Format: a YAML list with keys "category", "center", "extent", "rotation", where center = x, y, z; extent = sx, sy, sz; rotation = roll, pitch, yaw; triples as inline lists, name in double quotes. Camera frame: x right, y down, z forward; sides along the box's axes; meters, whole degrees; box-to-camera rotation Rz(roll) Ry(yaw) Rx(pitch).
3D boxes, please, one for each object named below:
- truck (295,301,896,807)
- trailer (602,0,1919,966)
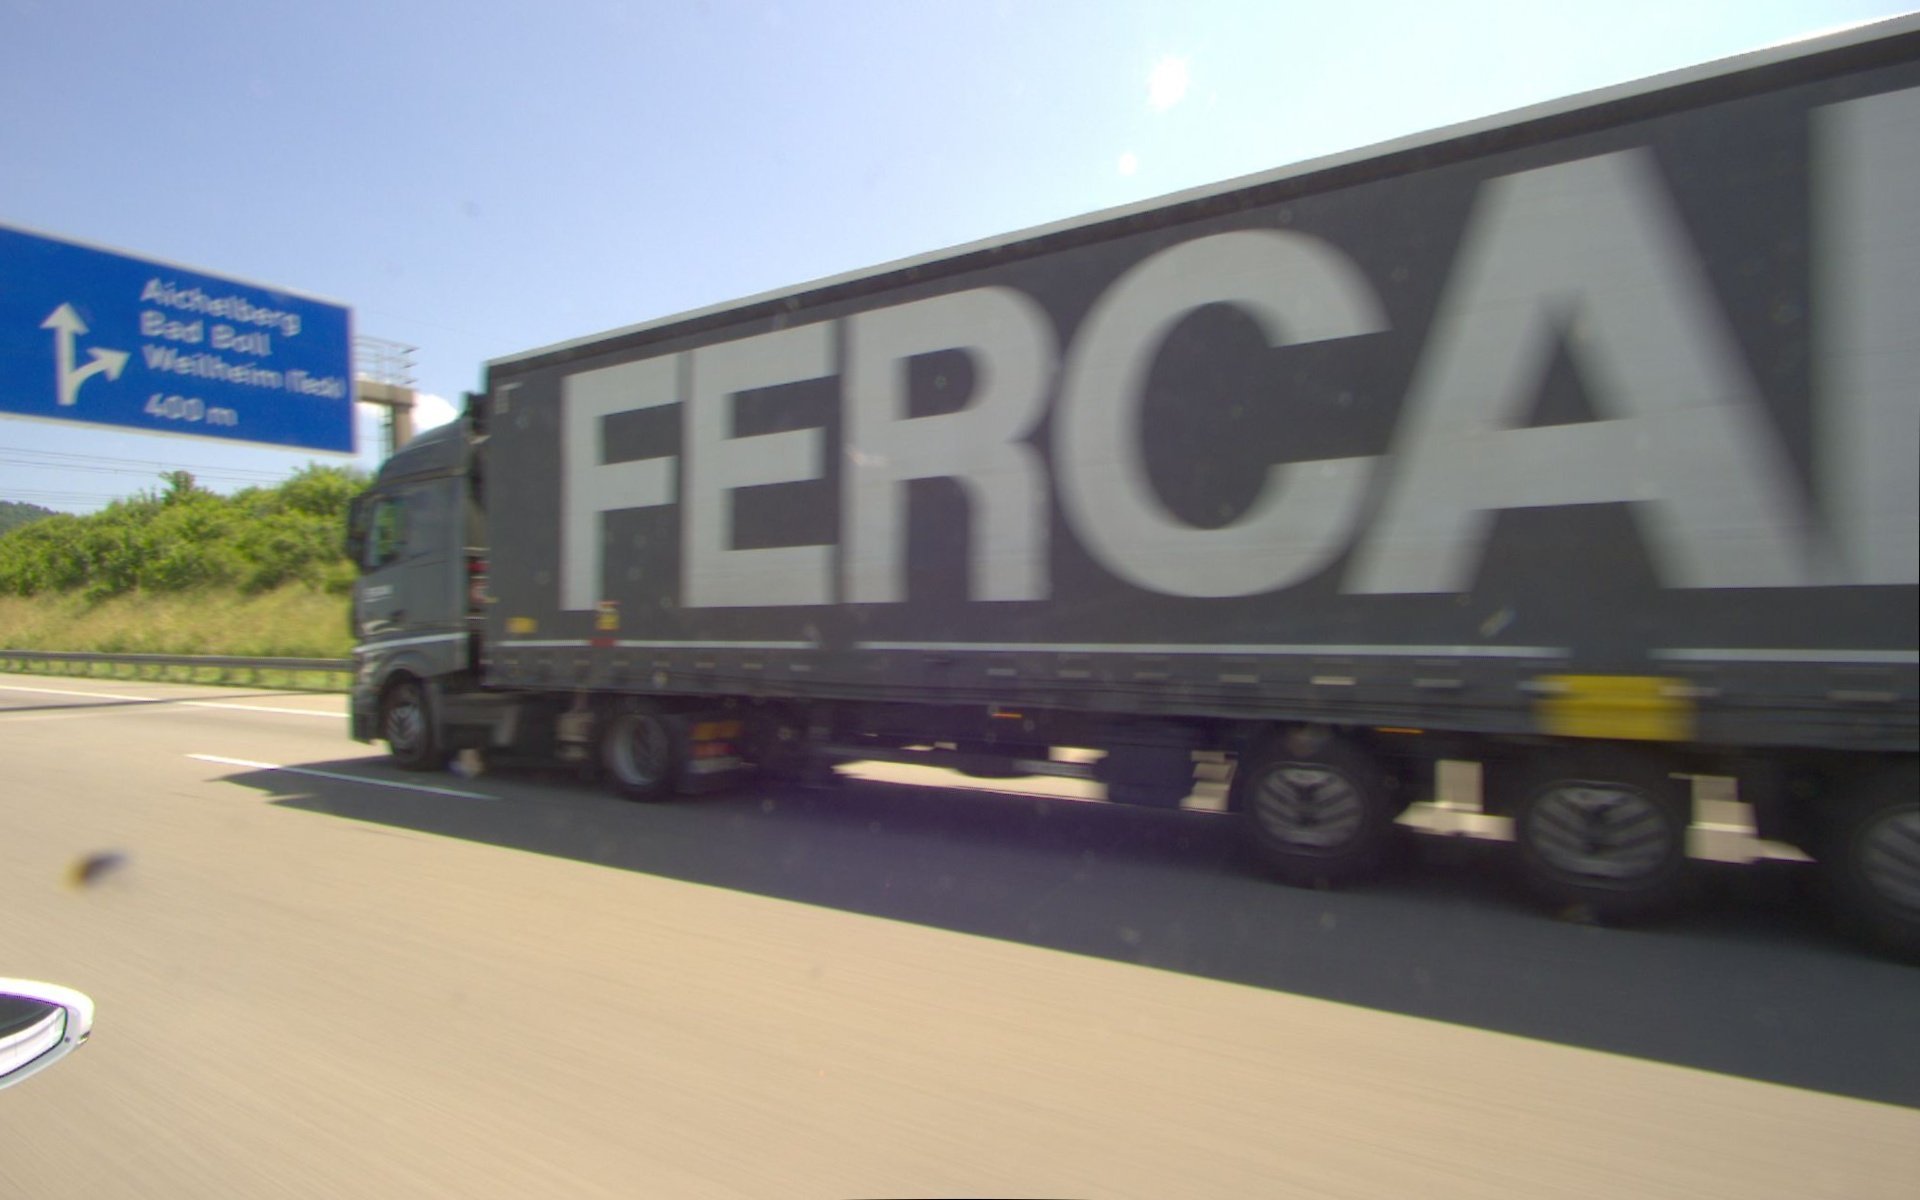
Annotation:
- category: "truck"
  center: [-4.199, -0.265, 11.027]
  extent: [6.693, 4.071, 2.747]
  rotation: [-1, -2, 33]
- category: "trailer"
  center: [2.516, -0.488, 6.727]
  extent: [11.640, 4.207, 2.721]
  rotation: [-1, -2, 32]
